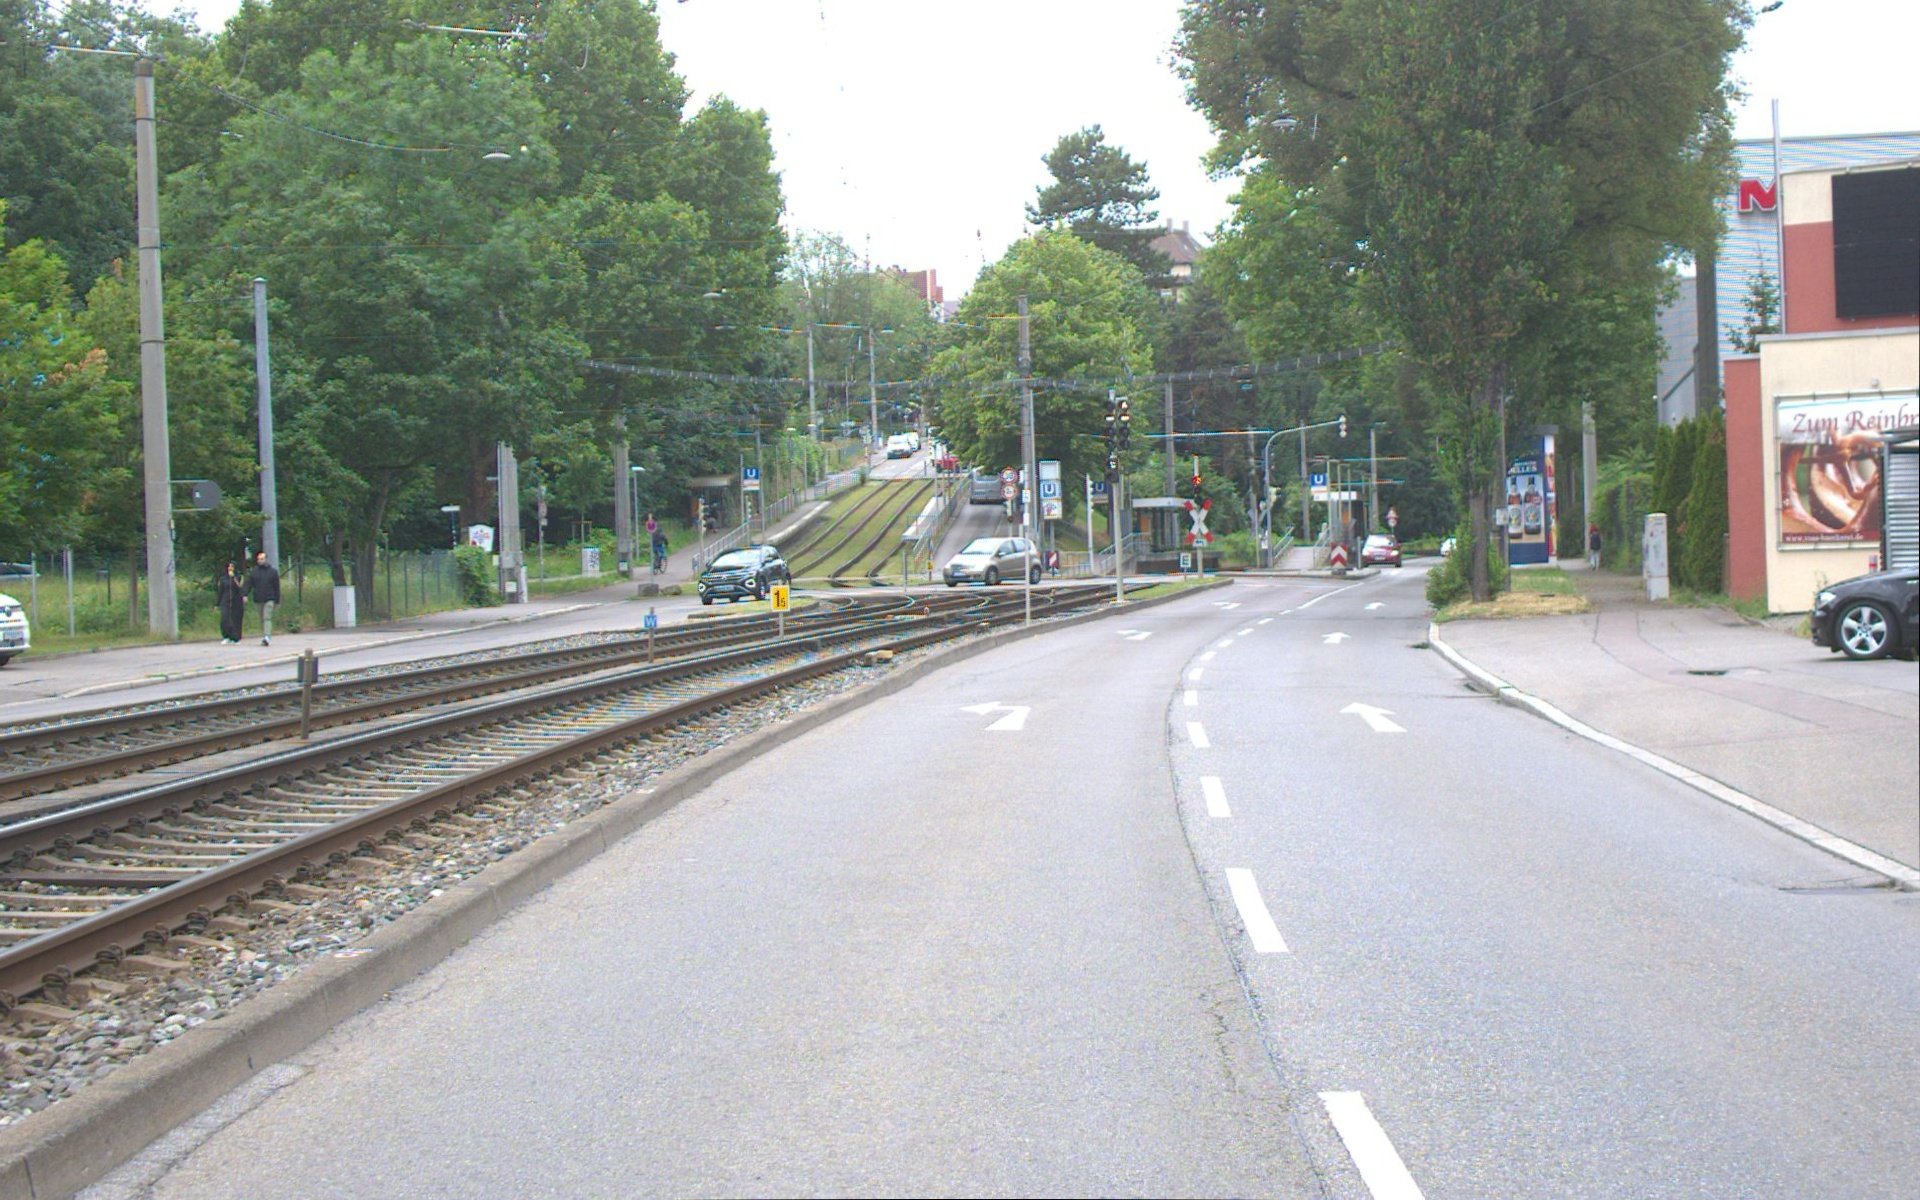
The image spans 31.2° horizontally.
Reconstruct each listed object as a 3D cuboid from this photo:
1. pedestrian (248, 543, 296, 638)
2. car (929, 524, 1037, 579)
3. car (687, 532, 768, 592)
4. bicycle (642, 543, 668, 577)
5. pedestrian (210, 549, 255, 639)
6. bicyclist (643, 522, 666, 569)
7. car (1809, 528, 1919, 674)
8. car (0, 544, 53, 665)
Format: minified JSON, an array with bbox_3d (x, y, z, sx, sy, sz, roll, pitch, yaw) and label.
[{"bbox_3d":[-13.224,-0.196,66.070,0.676,1.807,0.855,0,1,6],"label":"pedestrian"},{"bbox_3d":[0.794,-1.633,114.523,1.893,1.526,4.251,-4,1,25],"label":"car"},{"bbox_3d":[-6.550,-1.103,97.267,1.687,1.526,4.256,-5,1,3],"label":"car"},{"bbox_3d":[-12.365,-1.623,139.213,0.824,1.339,2.997,-2,1,-9],"label":"bicycle"},{"bbox_3d":[-13.979,-0.126,66.069,0.628,1.707,0.855,0,1,6],"label":"pedestrian"},{"bbox_3d":[-12.338,-2.204,138.904,0.821,1.843,1.052,-2,1,-9],"label":"bicyclist"},{"bbox_3d":[10.951,-0.052,34.739,4.227,1.438,1.760,-2,1,31],"label":"car"},{"bbox_3d":[-17.275,0.063,54.775,5.060,1.881,2.165,0,0,17],"label":"car"}]
